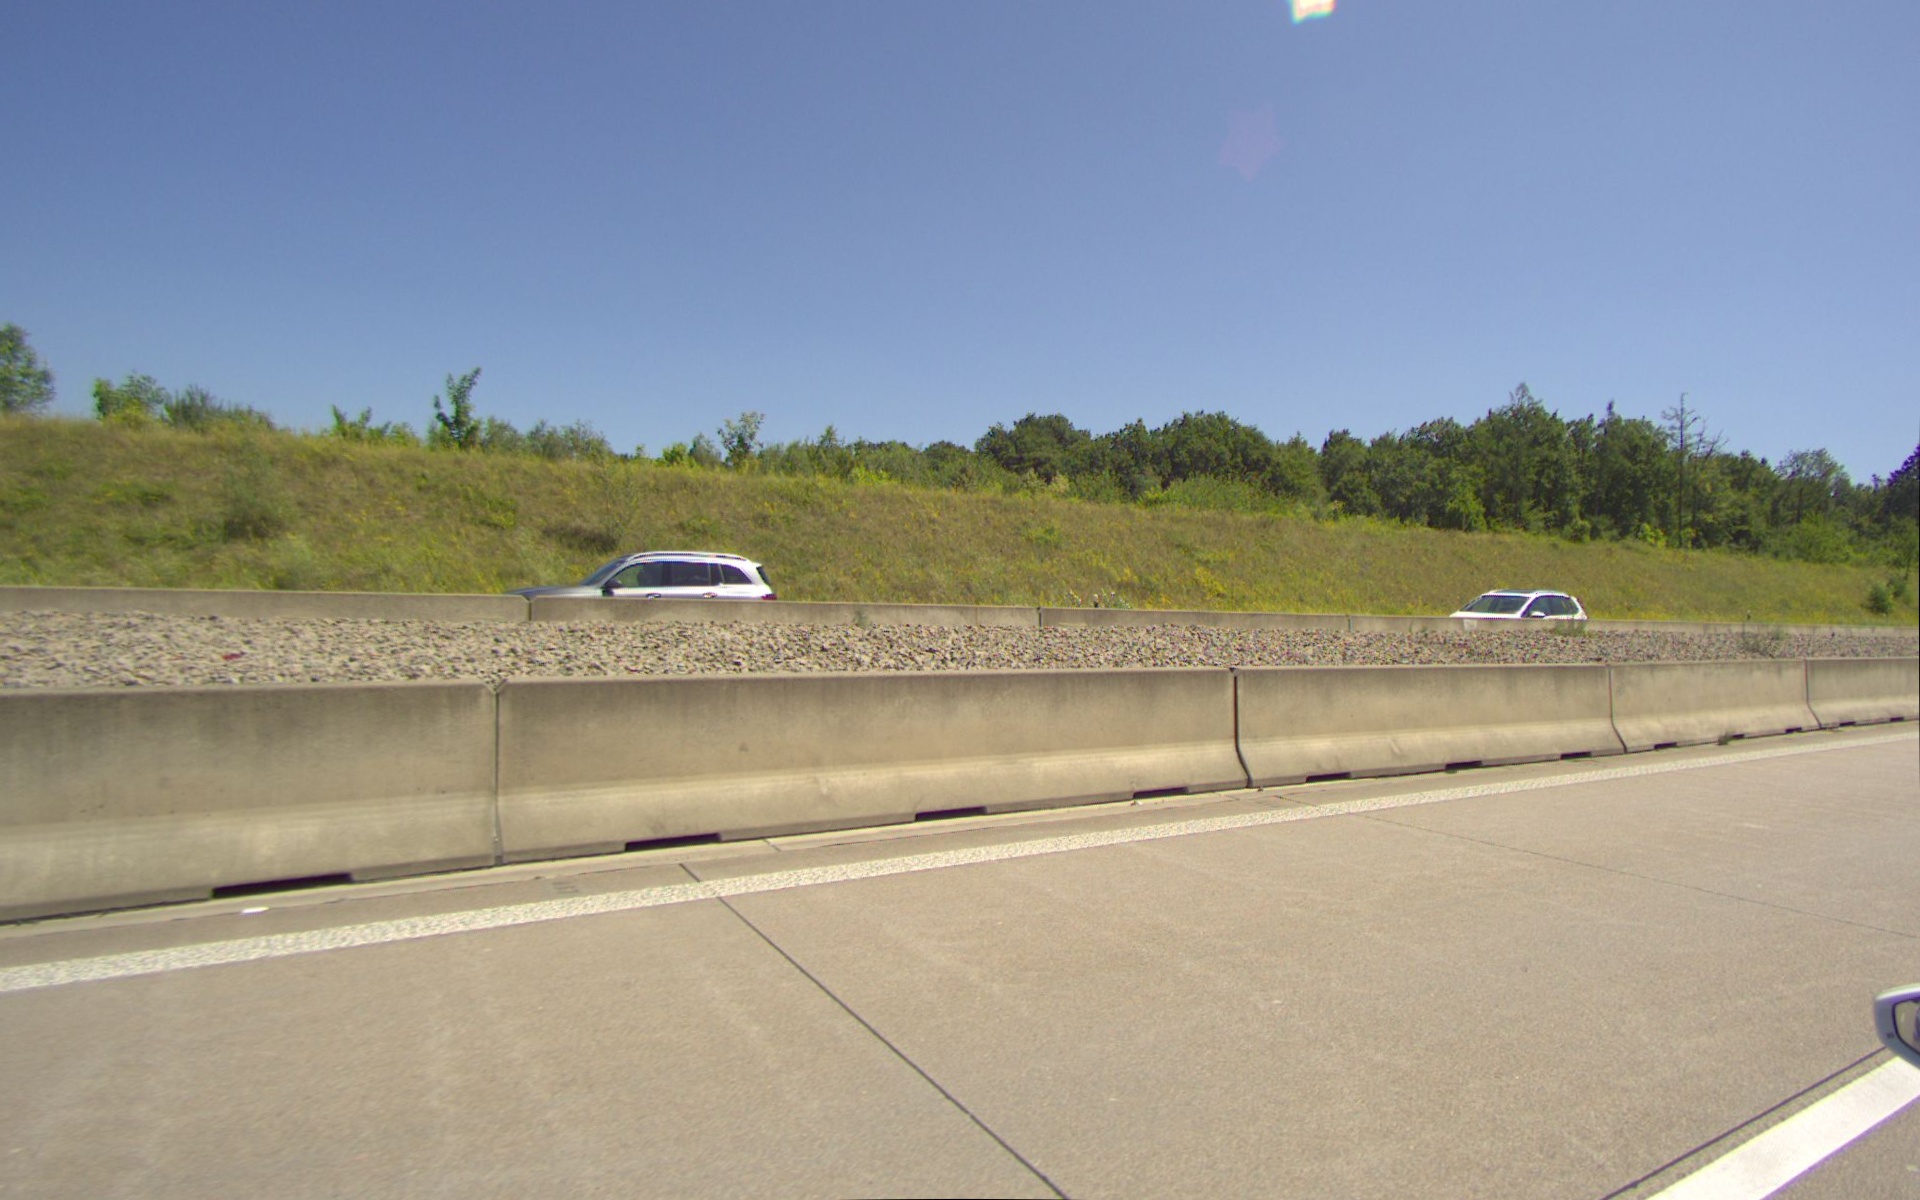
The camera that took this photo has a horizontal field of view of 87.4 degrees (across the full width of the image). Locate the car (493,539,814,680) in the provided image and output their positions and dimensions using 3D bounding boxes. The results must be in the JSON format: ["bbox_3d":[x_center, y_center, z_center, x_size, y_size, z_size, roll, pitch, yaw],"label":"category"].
[{"bbox_3d":[-5.067,0.193,16.696,4.744,2.040,2.274,1,-1,-29],"label":"car"}]

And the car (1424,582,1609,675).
[{"bbox_3d":[13.295,0.680,23.930,4.411,2.040,1.983,2,-1,-32],"label":"car"}]
